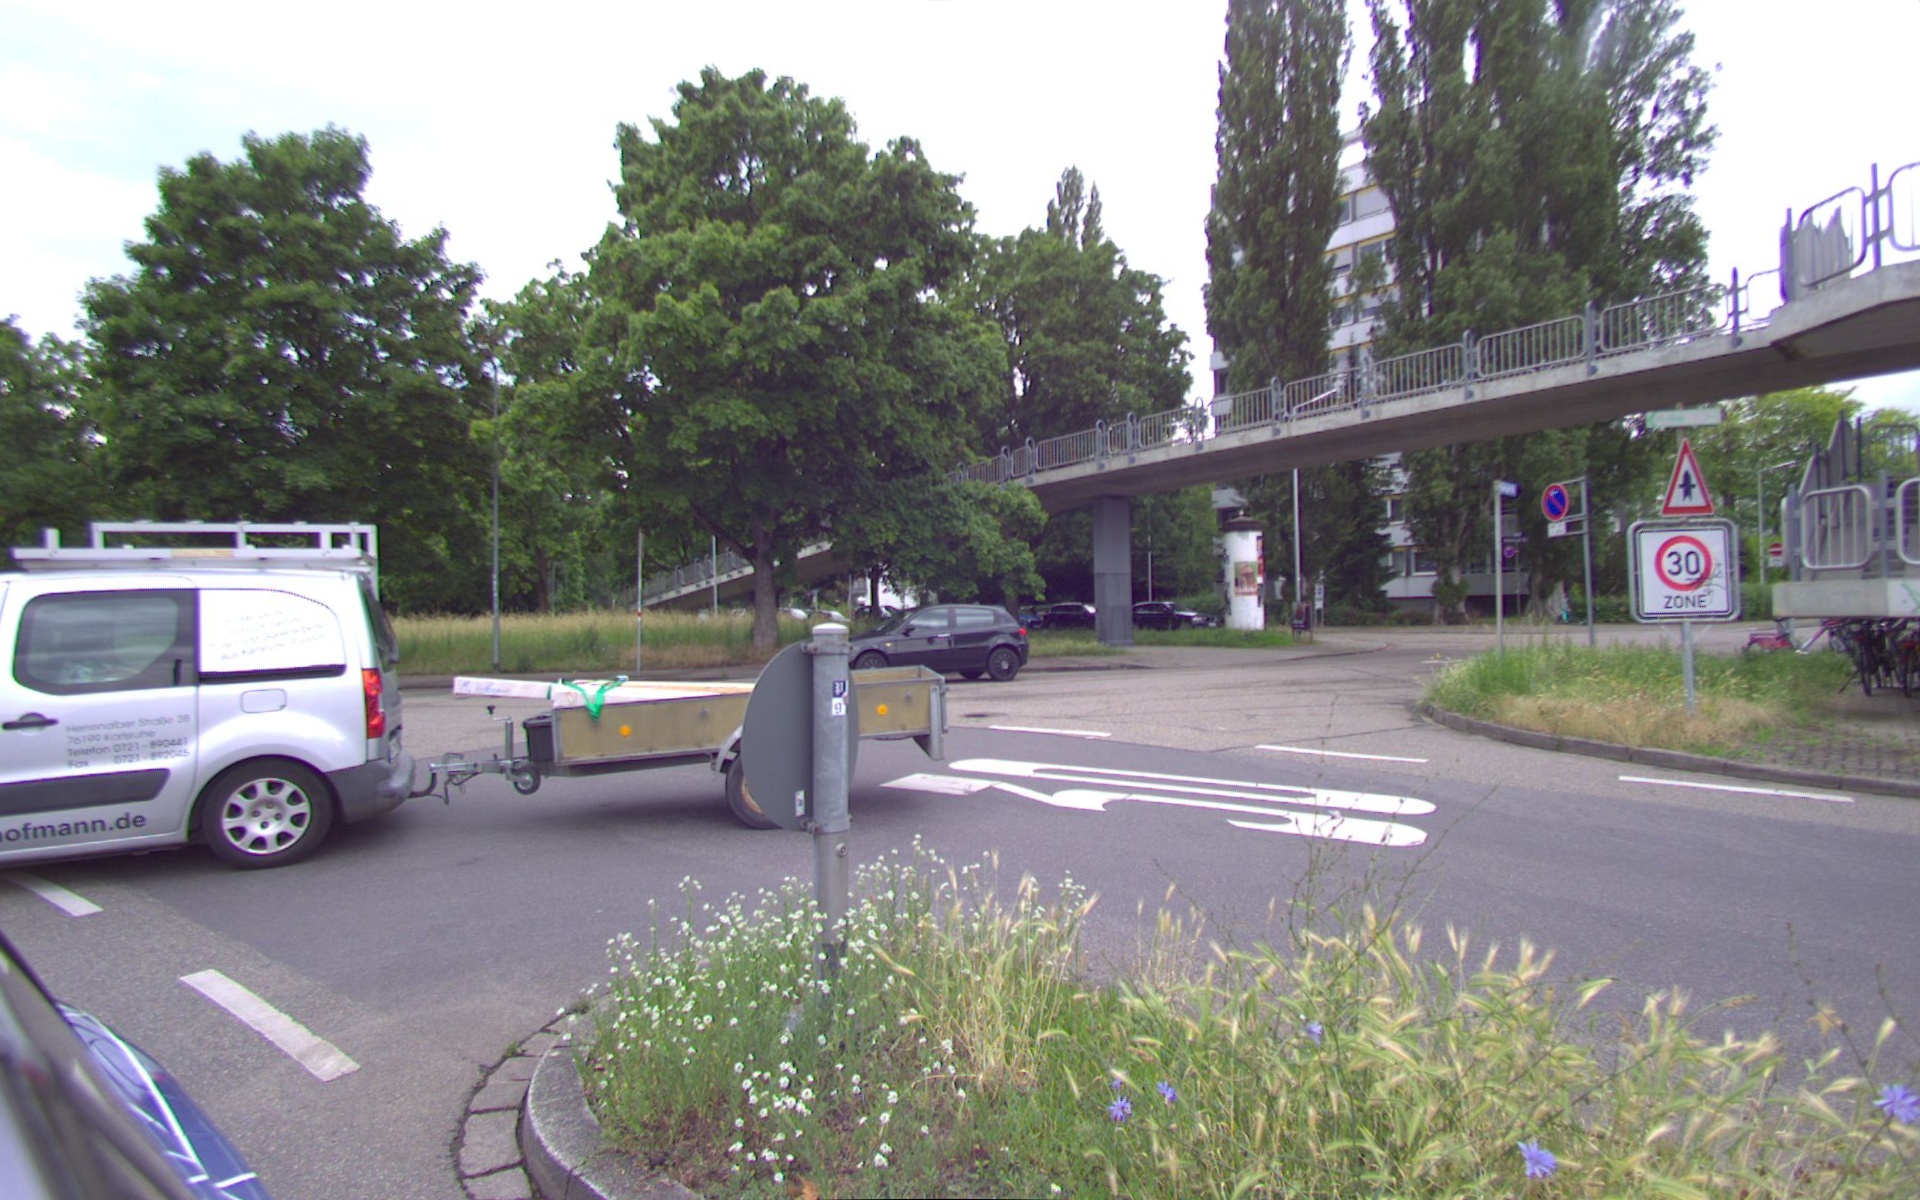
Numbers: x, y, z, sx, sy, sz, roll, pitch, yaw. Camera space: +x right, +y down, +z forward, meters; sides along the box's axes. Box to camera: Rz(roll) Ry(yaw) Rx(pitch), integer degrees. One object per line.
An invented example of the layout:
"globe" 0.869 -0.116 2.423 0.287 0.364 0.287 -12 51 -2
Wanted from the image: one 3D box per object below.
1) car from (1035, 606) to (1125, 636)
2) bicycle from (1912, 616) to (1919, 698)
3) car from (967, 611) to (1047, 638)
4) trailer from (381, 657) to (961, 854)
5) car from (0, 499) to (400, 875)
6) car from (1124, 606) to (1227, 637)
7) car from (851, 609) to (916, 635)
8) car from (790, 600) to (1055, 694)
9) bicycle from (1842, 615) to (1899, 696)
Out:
"car" 5.433 0.951 46.177 1.667 1.256 4.007 -1 0 -39
"bicycle" 11.624 0.657 12.010 1.618 0.892 0.395 -1 -1 -44
"car" 2.283 1.183 49.890 1.667 1.247 4.007 -1 0 -39
"trailer" -1.818 0.963 6.939 3.408 0.993 1.575 0 0 -10
"car" -5.647 0.451 5.783 4.148 1.871 2.102 -1 -1 -25
"car" 8.882 0.890 41.945 1.667 1.214 4.007 -1 0 -39
"car" -4.385 1.253 57.462 1.667 1.361 4.007 -1 0 -39
"car" -0.693 0.792 18.455 4.462 1.468 1.809 -1 0 -21
"bicycle" 11.158 0.653 12.394 1.618 0.892 0.395 -1 -1 -44
